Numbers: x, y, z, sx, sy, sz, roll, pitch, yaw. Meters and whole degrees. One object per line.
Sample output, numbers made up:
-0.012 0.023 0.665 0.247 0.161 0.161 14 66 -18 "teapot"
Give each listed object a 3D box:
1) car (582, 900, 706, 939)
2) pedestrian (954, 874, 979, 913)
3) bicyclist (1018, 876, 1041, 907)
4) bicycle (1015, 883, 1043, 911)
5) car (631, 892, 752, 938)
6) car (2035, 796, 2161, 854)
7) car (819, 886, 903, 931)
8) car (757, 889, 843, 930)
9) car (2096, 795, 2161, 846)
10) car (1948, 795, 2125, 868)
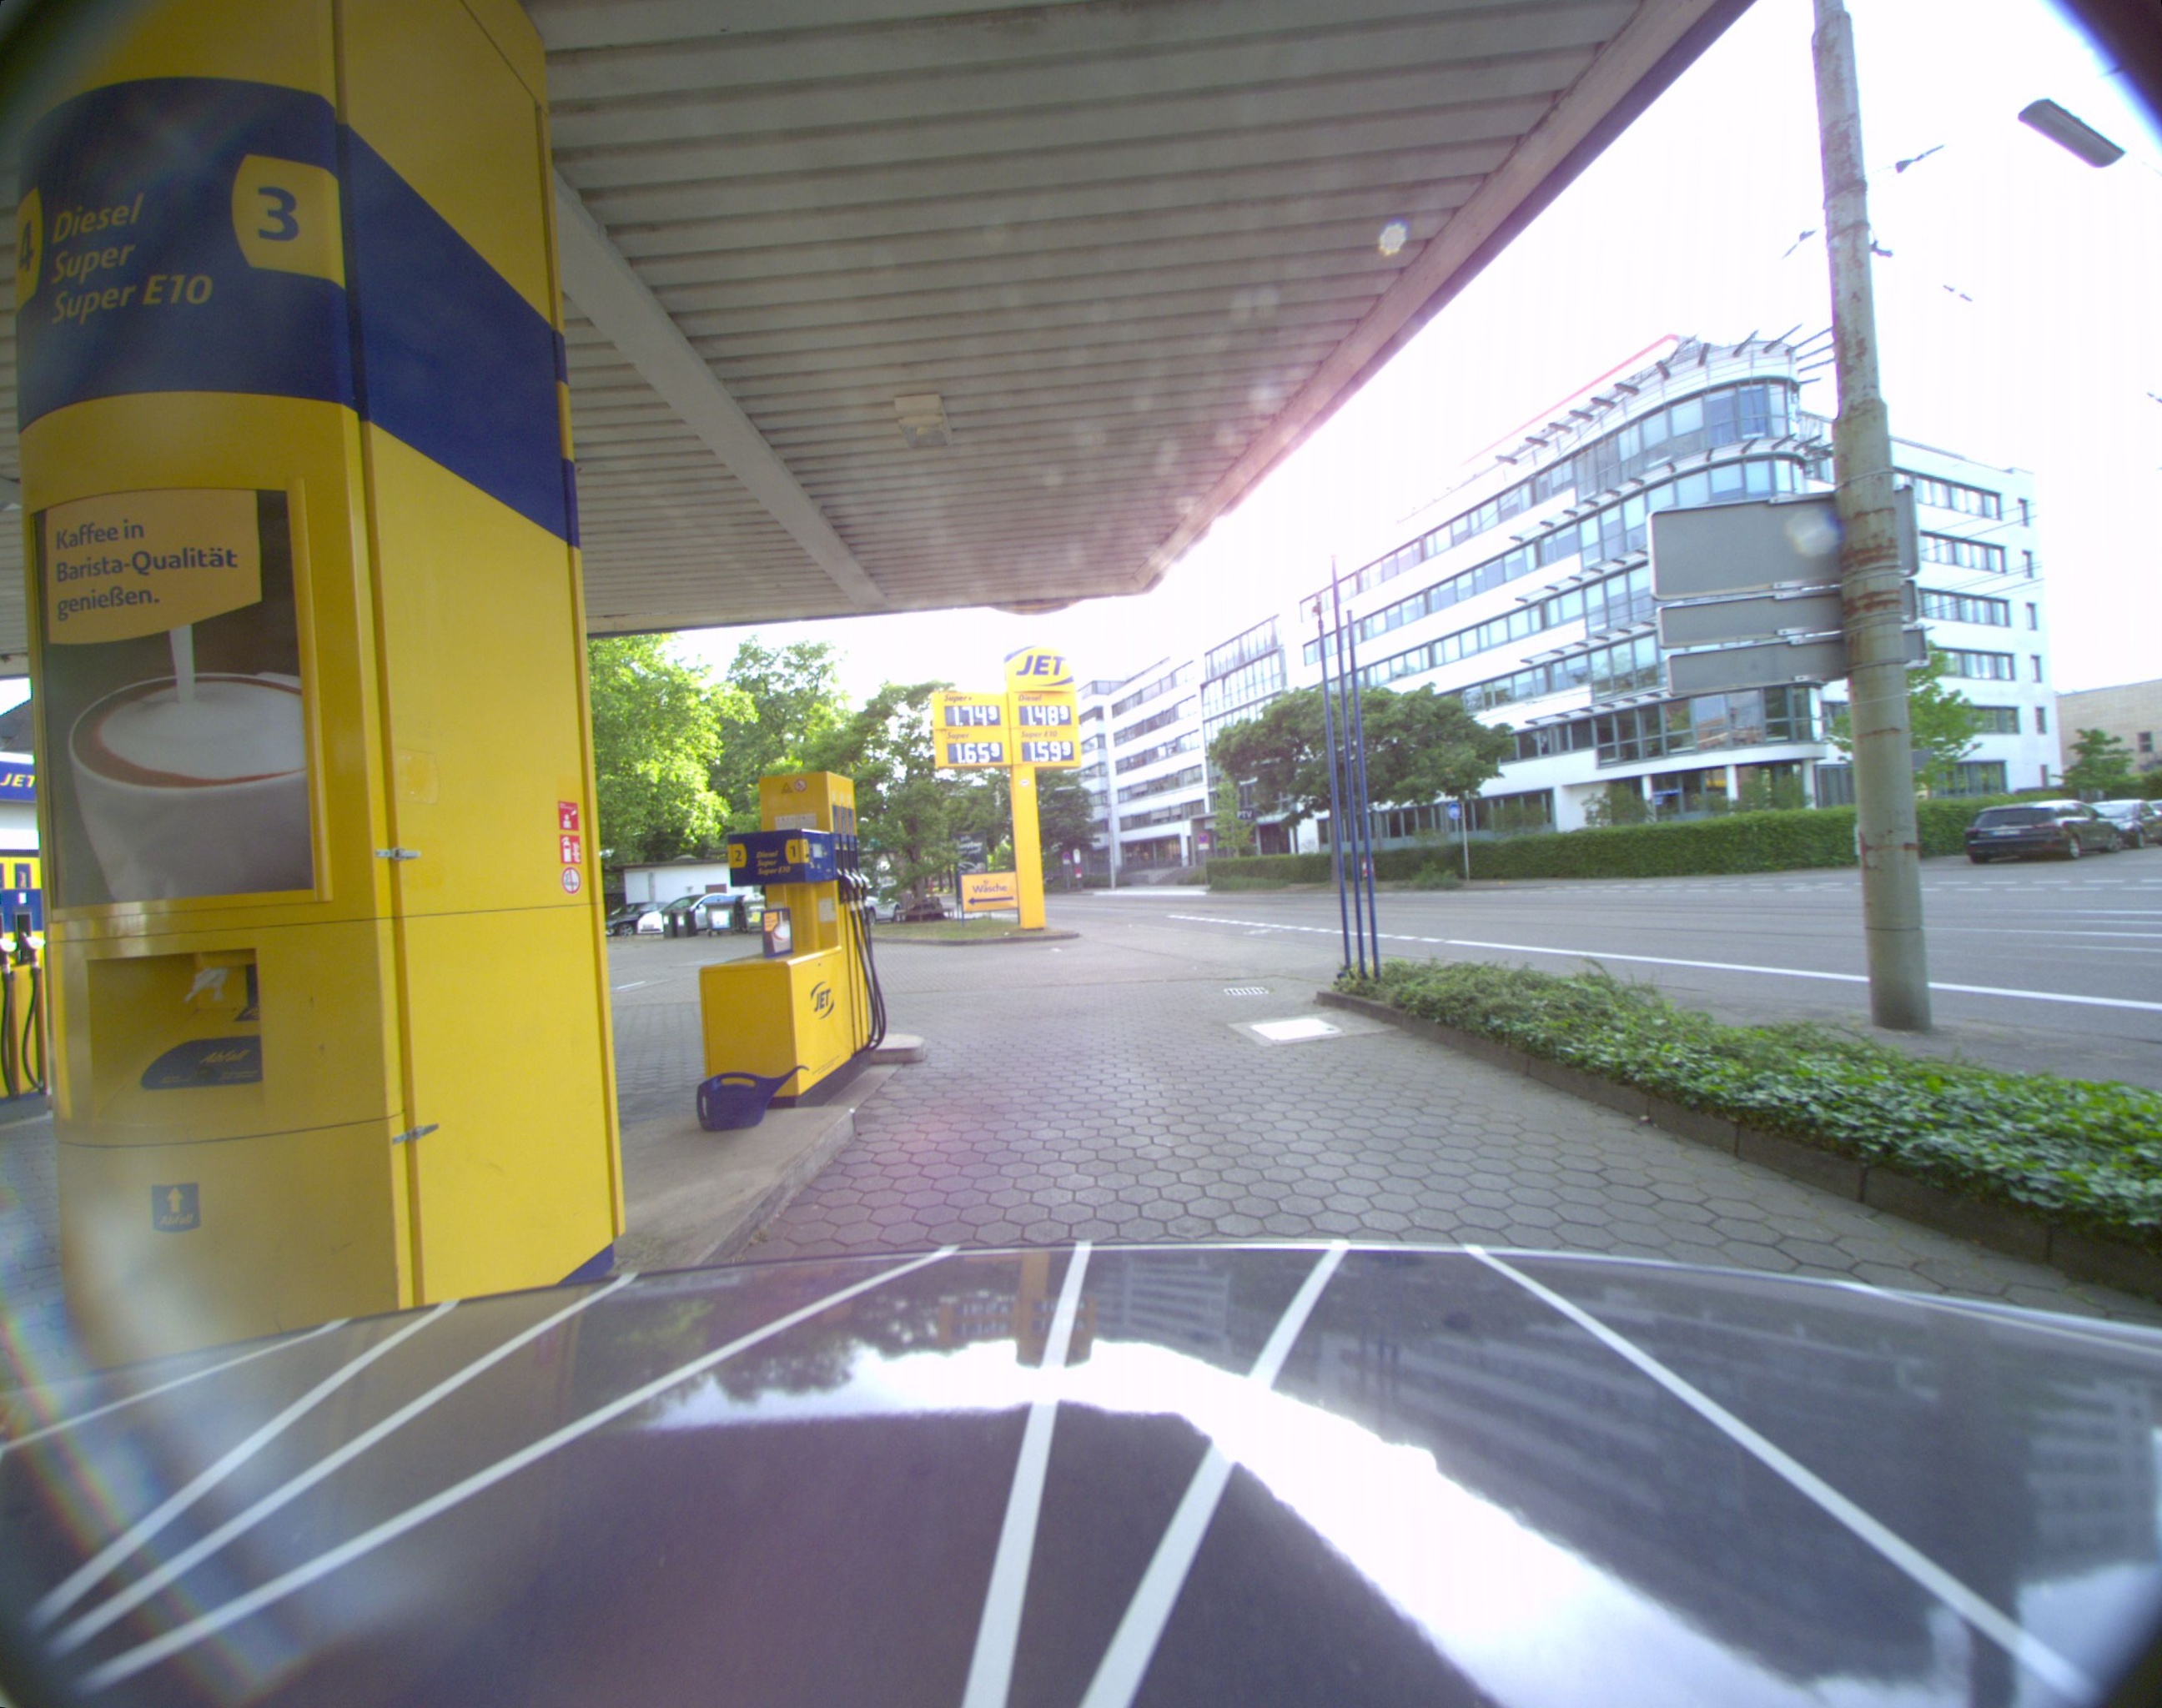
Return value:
-17.750 2.632 31.078 1.745 1.269 4.230 -5 -3 19 "car"
-6.040 2.061 39.920 0.934 2.001 1.214 -2 -1 -24 "pedestrian"
-2.559 1.856 37.697 0.736 1.451 0.915 -6 0 -22 "bicyclist"
-2.596 2.126 37.839 0.736 1.250 1.936 -6 0 -22 "bicycle"
-15.364 2.384 30.262 1.785 1.514 4.229 -4 -3 17 "car"
32.487 -0.938 24.044 4.109 1.544 1.786 -4 -1 -23 "car"
-8.690 2.117 30.388 1.739 1.500 4.003 -4 -2 6 "car"
-11.805 2.323 32.250 1.739 1.500 4.004 -4 -2 6 "car"
37.147 -1.232 26.082 4.109 1.544 1.786 -4 -1 -23 "car"
27.372 -0.646 21.773 4.438 1.603 1.976 -5 -1 -23 "car"
